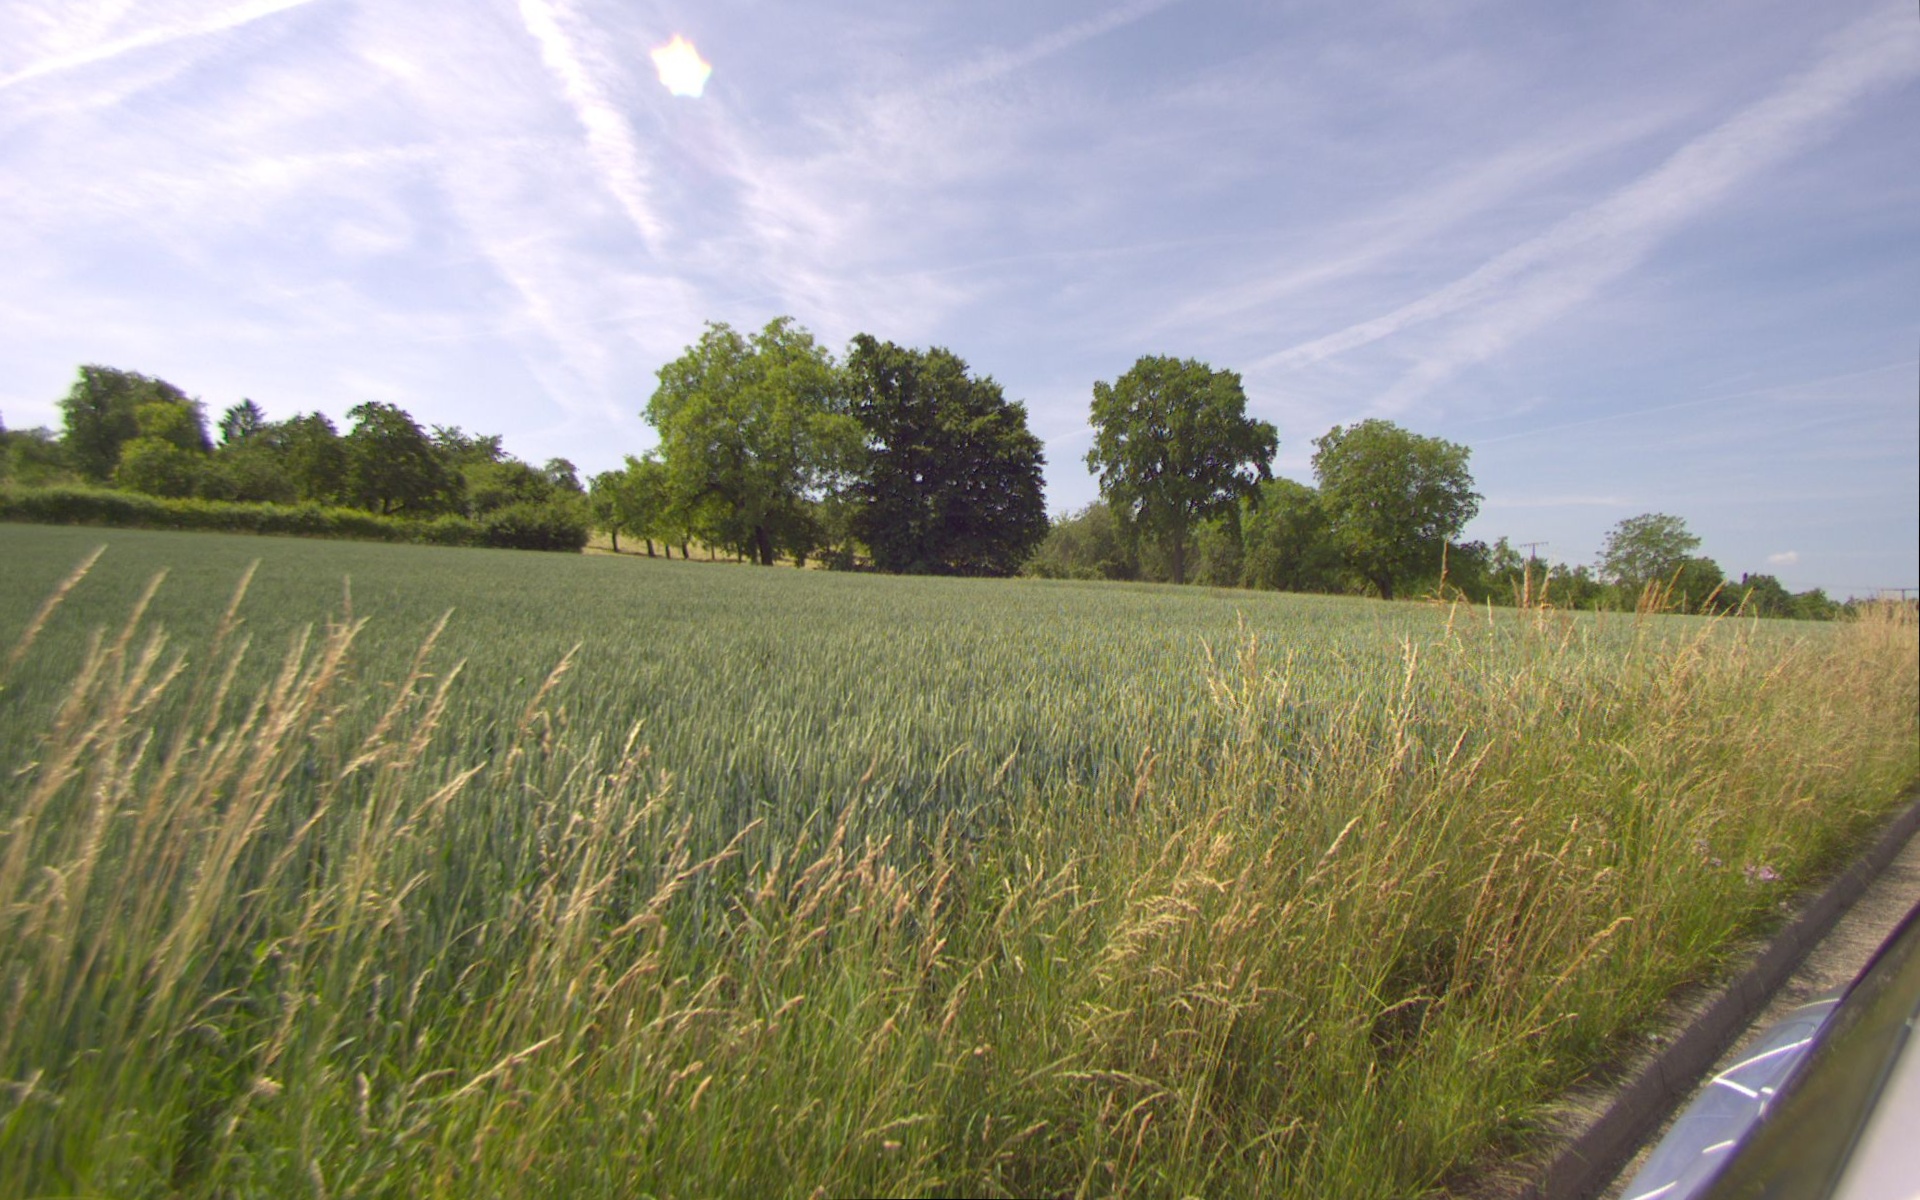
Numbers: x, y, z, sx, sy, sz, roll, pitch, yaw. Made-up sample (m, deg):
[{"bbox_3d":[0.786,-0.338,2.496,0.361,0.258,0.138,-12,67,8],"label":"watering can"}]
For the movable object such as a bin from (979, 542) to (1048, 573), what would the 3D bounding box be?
[{"bbox_3d":[4.772,-3.824,90.963,2.400,2.398,6.577,2,3,-37],"label":"movable object such as a bin"}]
